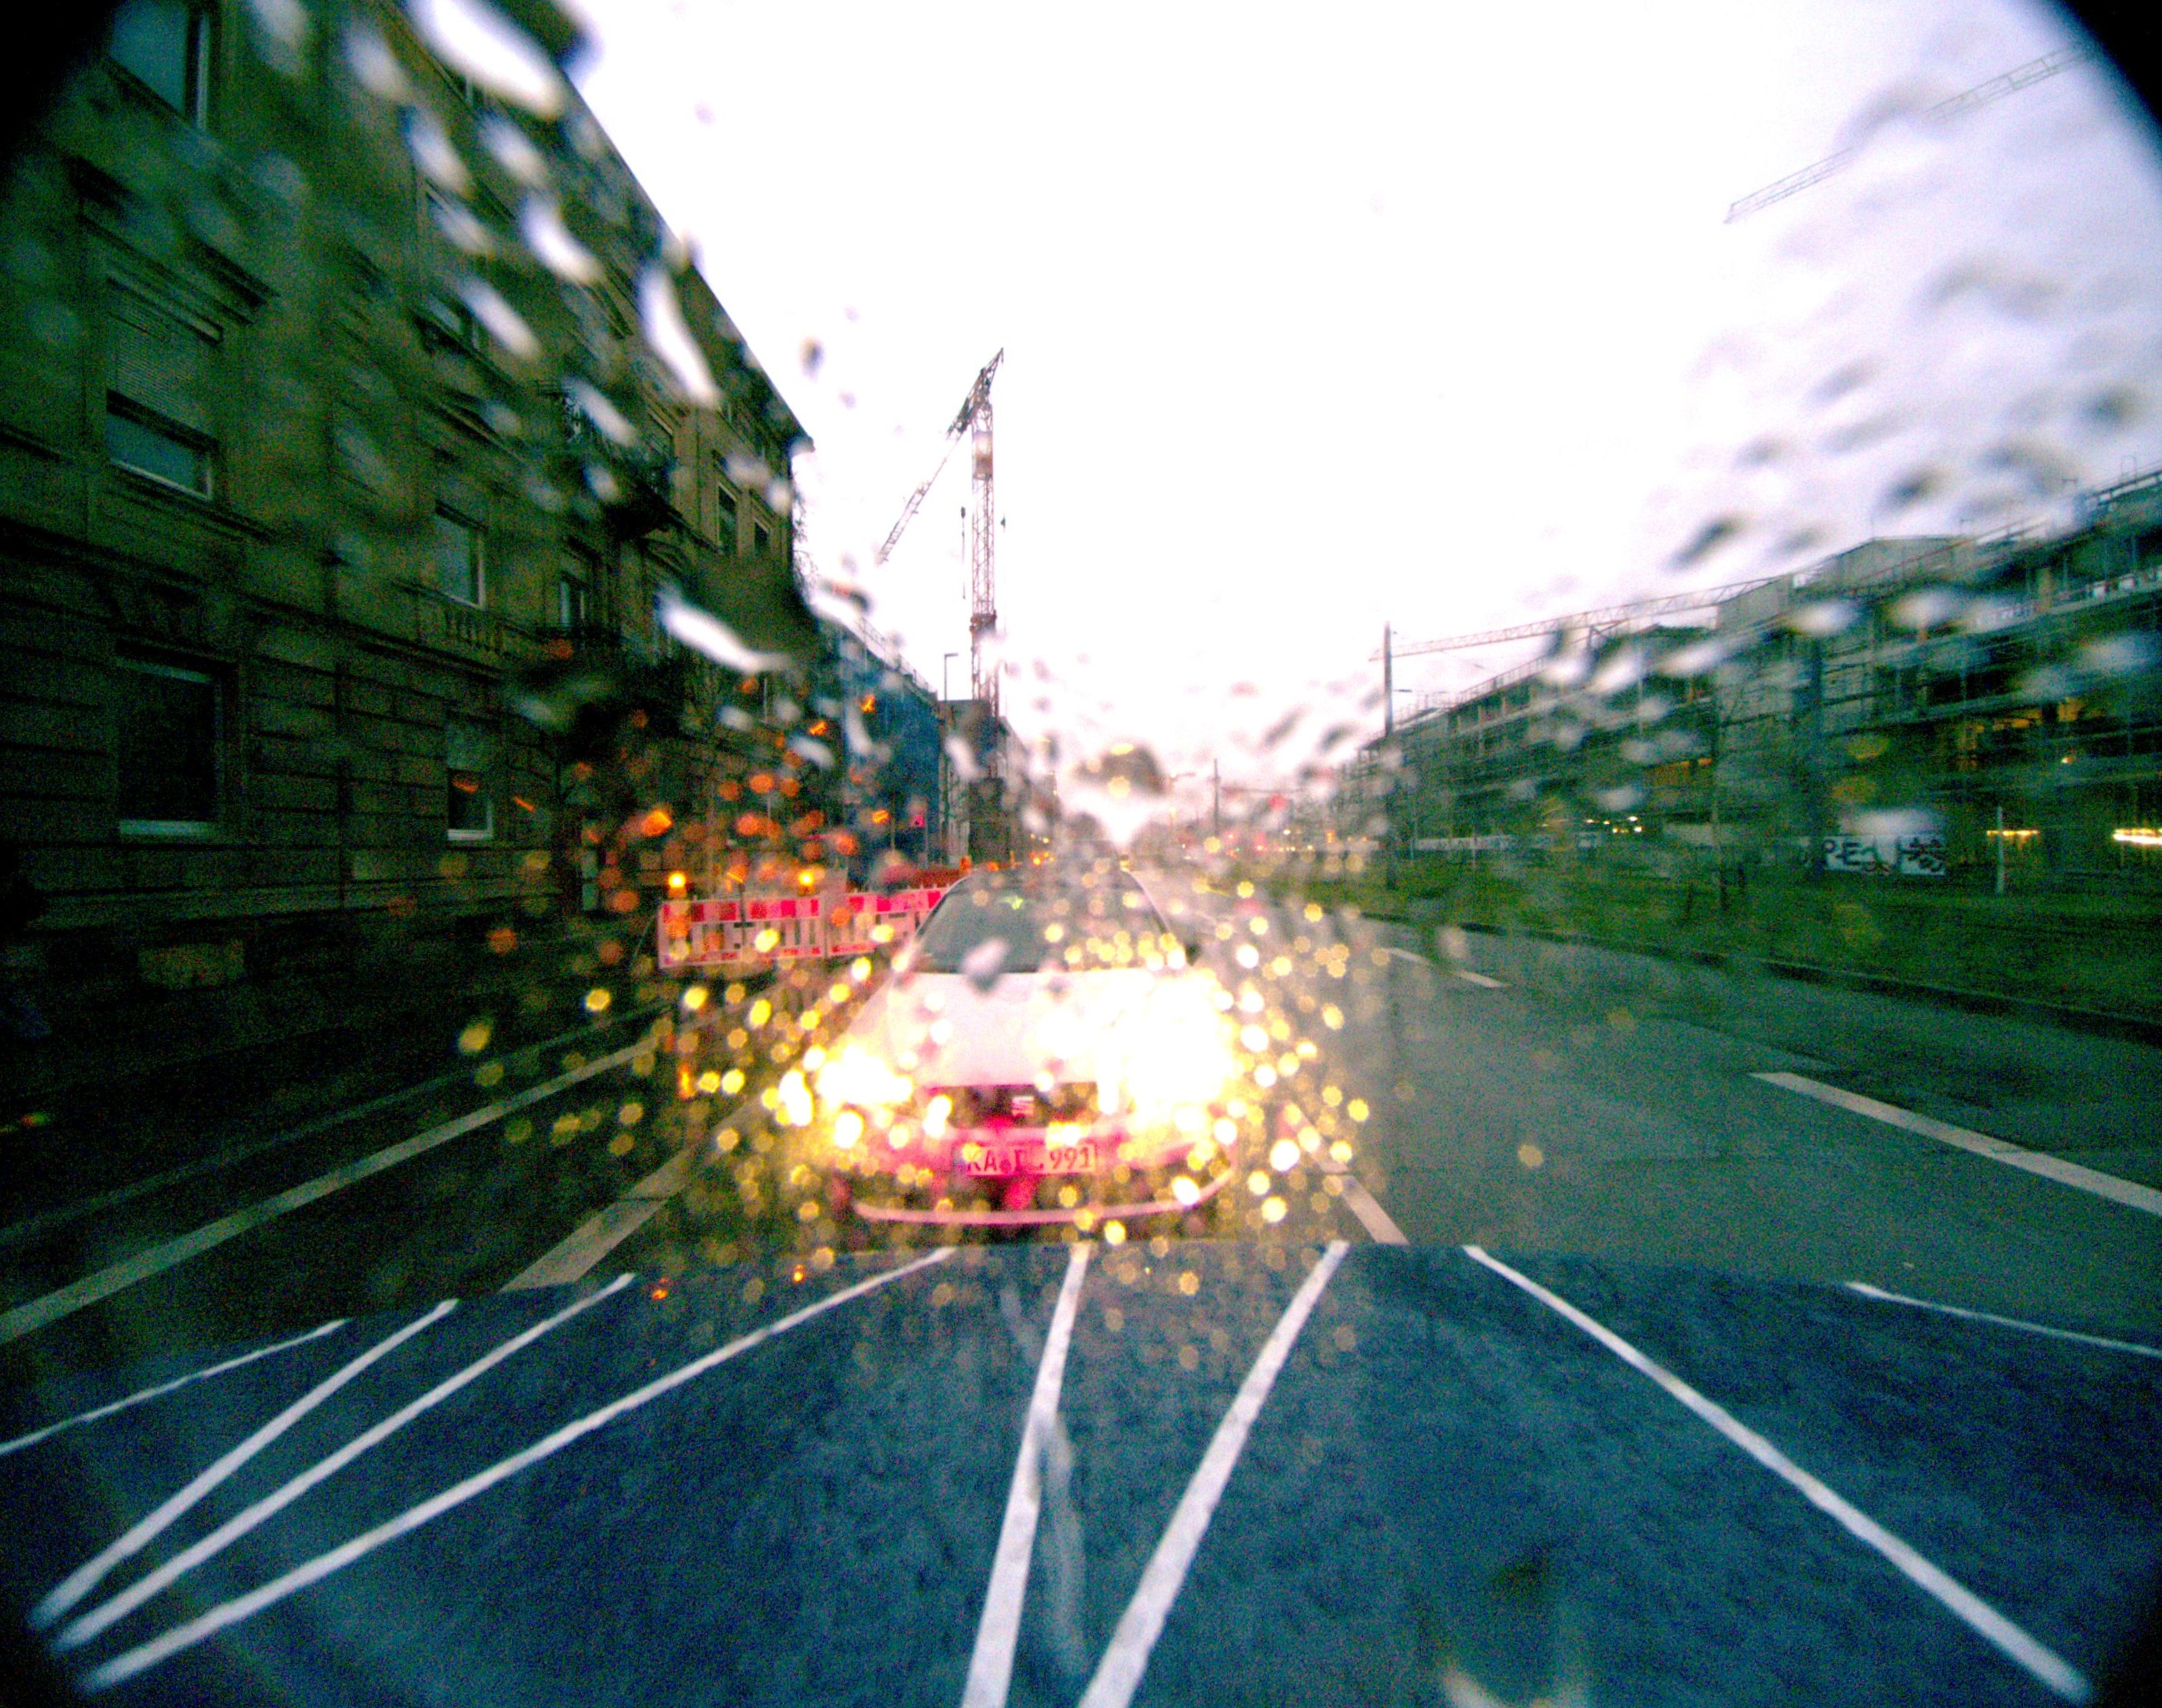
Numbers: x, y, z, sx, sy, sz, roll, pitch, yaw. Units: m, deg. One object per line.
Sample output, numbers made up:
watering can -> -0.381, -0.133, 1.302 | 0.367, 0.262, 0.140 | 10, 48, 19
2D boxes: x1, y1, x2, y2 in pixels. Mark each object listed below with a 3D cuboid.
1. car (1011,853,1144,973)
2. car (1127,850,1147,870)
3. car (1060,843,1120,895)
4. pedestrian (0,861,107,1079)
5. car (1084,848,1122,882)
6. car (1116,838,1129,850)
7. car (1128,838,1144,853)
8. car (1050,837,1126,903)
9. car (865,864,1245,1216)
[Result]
car -> -0.053, 0.810, 12.447 | 1.769, 1.504, 3.899 | -3, 1, 0
car -> 5.127, 0.514, 69.671 | 1.768, 1.614, 3.900 | -3, 1, 4
car -> 0.270, 0.428, 25.301 | 1.769, 1.504, 3.899 | -3, 1, 0
pedestrian -> -8.079, 0.825, 5.484 | 0.870, 1.536, 0.929 | 0, 1, 1
car -> 1.066, 0.528, 39.197 | 1.769, 1.504, 3.899 | -3, 1, 0
car -> 5.908, -1.404, 107.043 | 1.768, 1.614, 3.900 | -3, 1, 4
car -> 6.306, -1.011, 87.351 | 1.768, 1.614, 3.900 | -3, 1, 4
car -> 0.172, 0.350, 20.310 | 1.769, 1.504, 3.899 | -3, 1, 0
car -> -0.126, 0.930, 5.629 | 1.769, 1.504, 3.899 | -3, 1, 0
